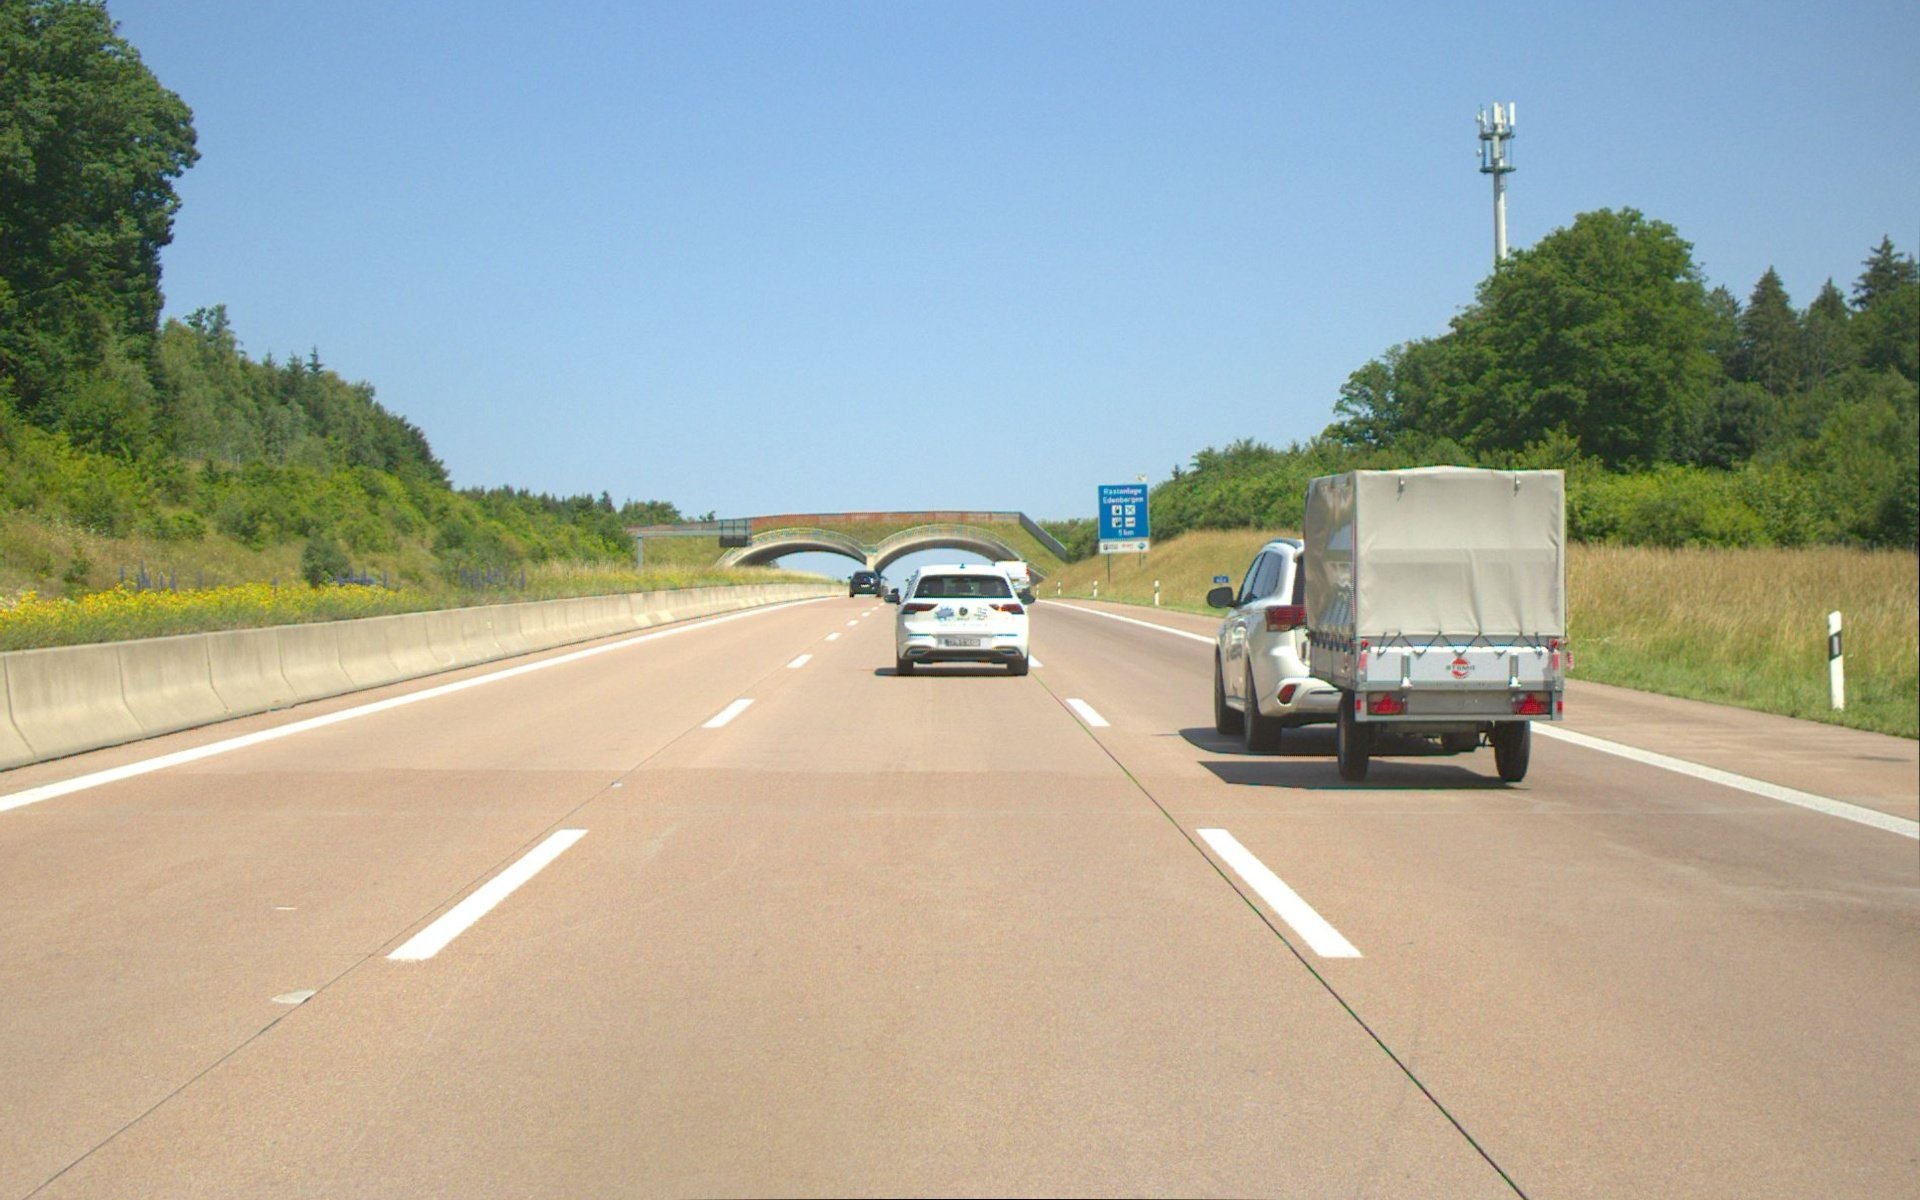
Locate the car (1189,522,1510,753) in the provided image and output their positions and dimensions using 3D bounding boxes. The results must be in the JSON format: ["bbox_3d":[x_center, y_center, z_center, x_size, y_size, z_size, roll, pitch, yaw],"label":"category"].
[{"bbox_3d":[3.079,0.253,28.231,1.890,1.722,5.187,0,1,-2],"label":"car"}]

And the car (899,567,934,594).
[{"bbox_3d":[-2.448,-1.118,193.155,1.891,1.458,4.000,1,1,0],"label":"car"}]

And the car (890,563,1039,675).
[{"bbox_3d":[0.033,0.220,45.970,1.891,1.393,4.000,1,1,-1],"label":"car"}]

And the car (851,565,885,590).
[{"bbox_3d":[-5.621,-1.378,210.040,1.891,1.458,4.000,0,1,2],"label":"car"}]

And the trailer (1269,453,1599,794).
[{"bbox_3d":[3.176,0.130,23.740,1.657,2.156,4.016,0,0,-1],"label":"trailer"}]

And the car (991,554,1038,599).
[{"bbox_3d":[2.523,-1.095,158.978,2.110,2.047,4.000,0,1,2],"label":"car"}]
